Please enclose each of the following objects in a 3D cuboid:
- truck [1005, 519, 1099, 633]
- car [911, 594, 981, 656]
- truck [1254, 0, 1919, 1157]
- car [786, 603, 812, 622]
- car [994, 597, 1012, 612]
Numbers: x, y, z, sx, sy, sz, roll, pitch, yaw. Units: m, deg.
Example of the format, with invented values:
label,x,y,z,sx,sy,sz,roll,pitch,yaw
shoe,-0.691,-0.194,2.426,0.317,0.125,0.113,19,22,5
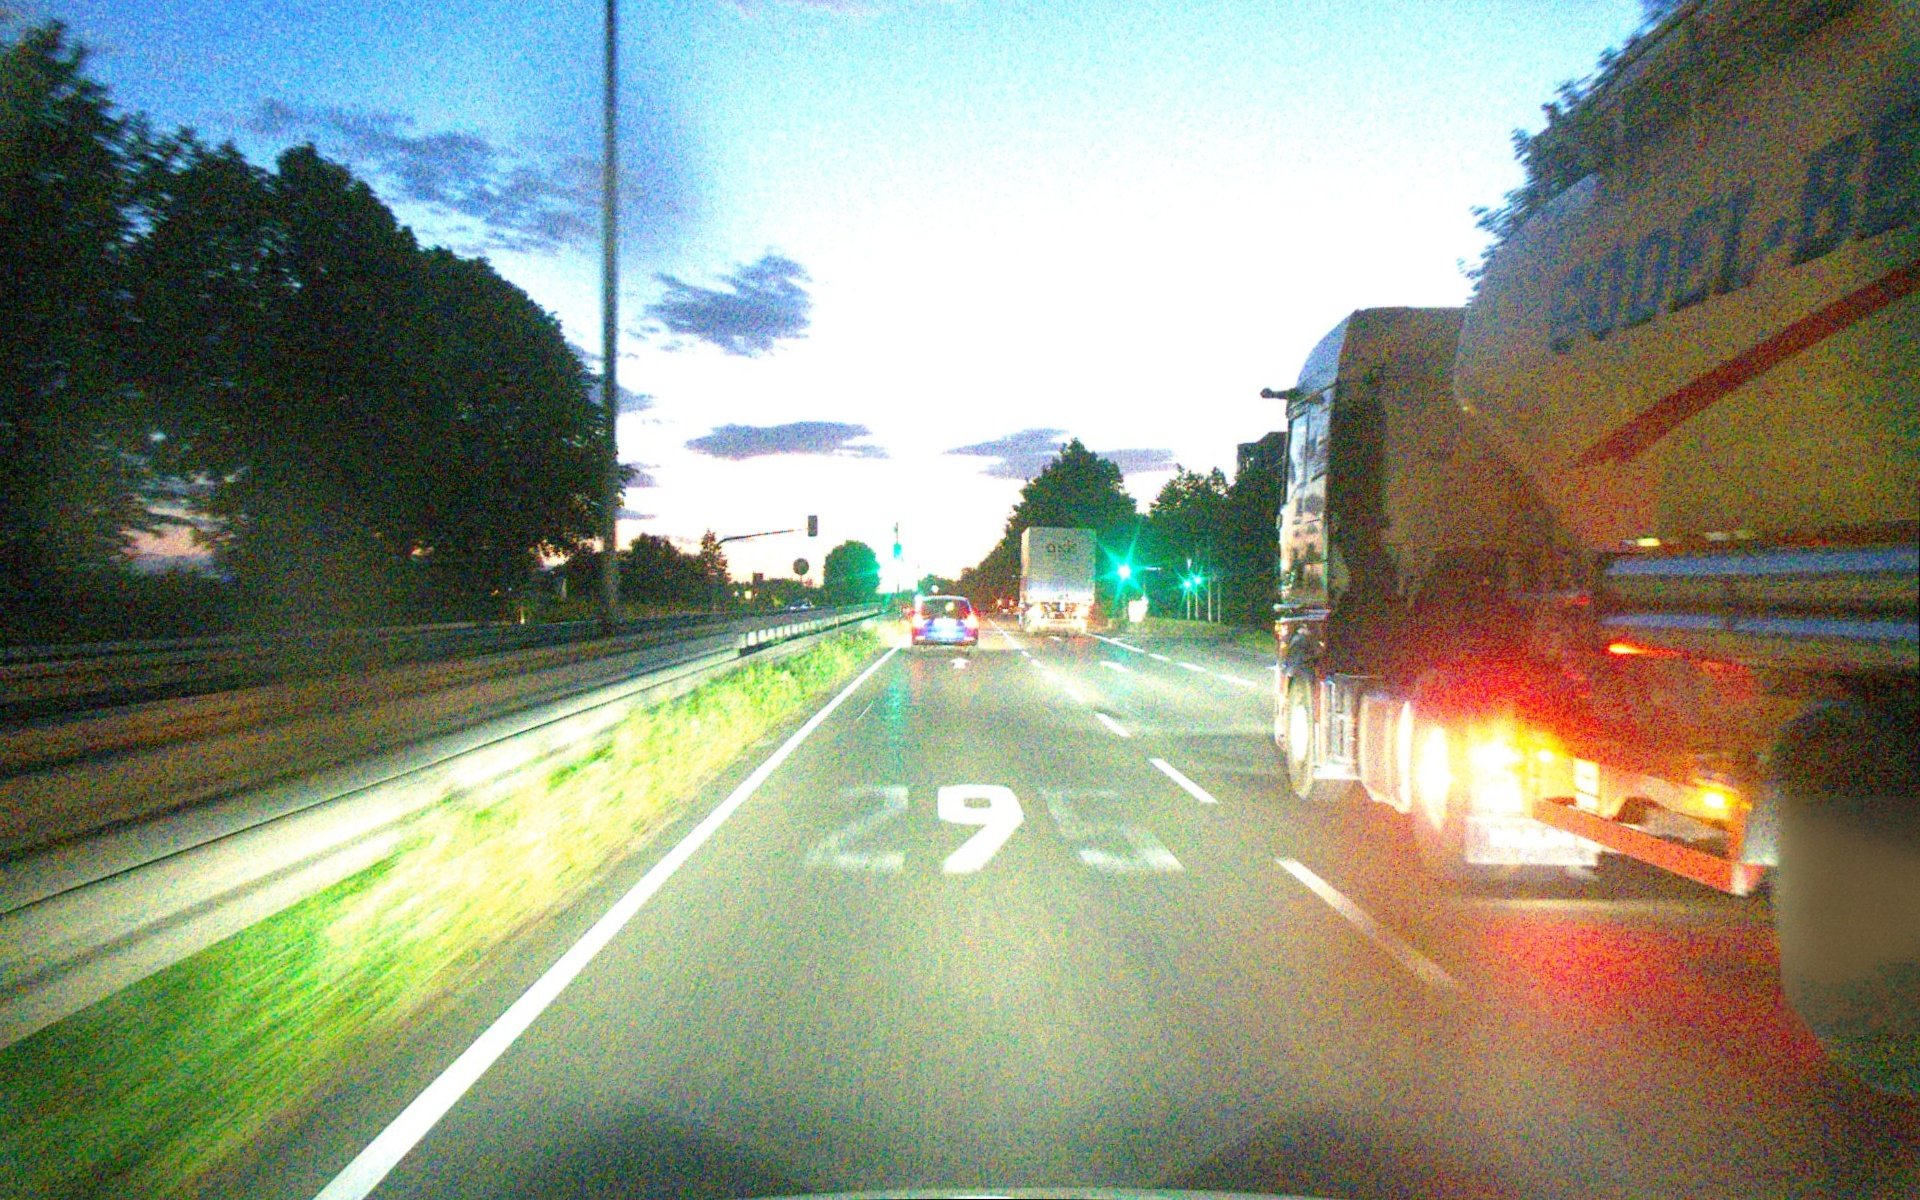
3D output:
label,x,y,z,sx,sy,sz,roll,pitch,yaw
truck,3.542,-0.896,67.201,2.824,4.178,12.680,1,0,-1
car,-0.380,0.597,41.885,1.661,1.478,3.913,1,0,-1
truck,3.903,-0.602,8.029,2.632,4.178,13.141,1,0,0
car,-11.975,0.921,123.451,1.573,1.353,3.938,-2,0,-1
car,4.283,0.474,164.592,1.661,1.478,3.913,1,0,-1
